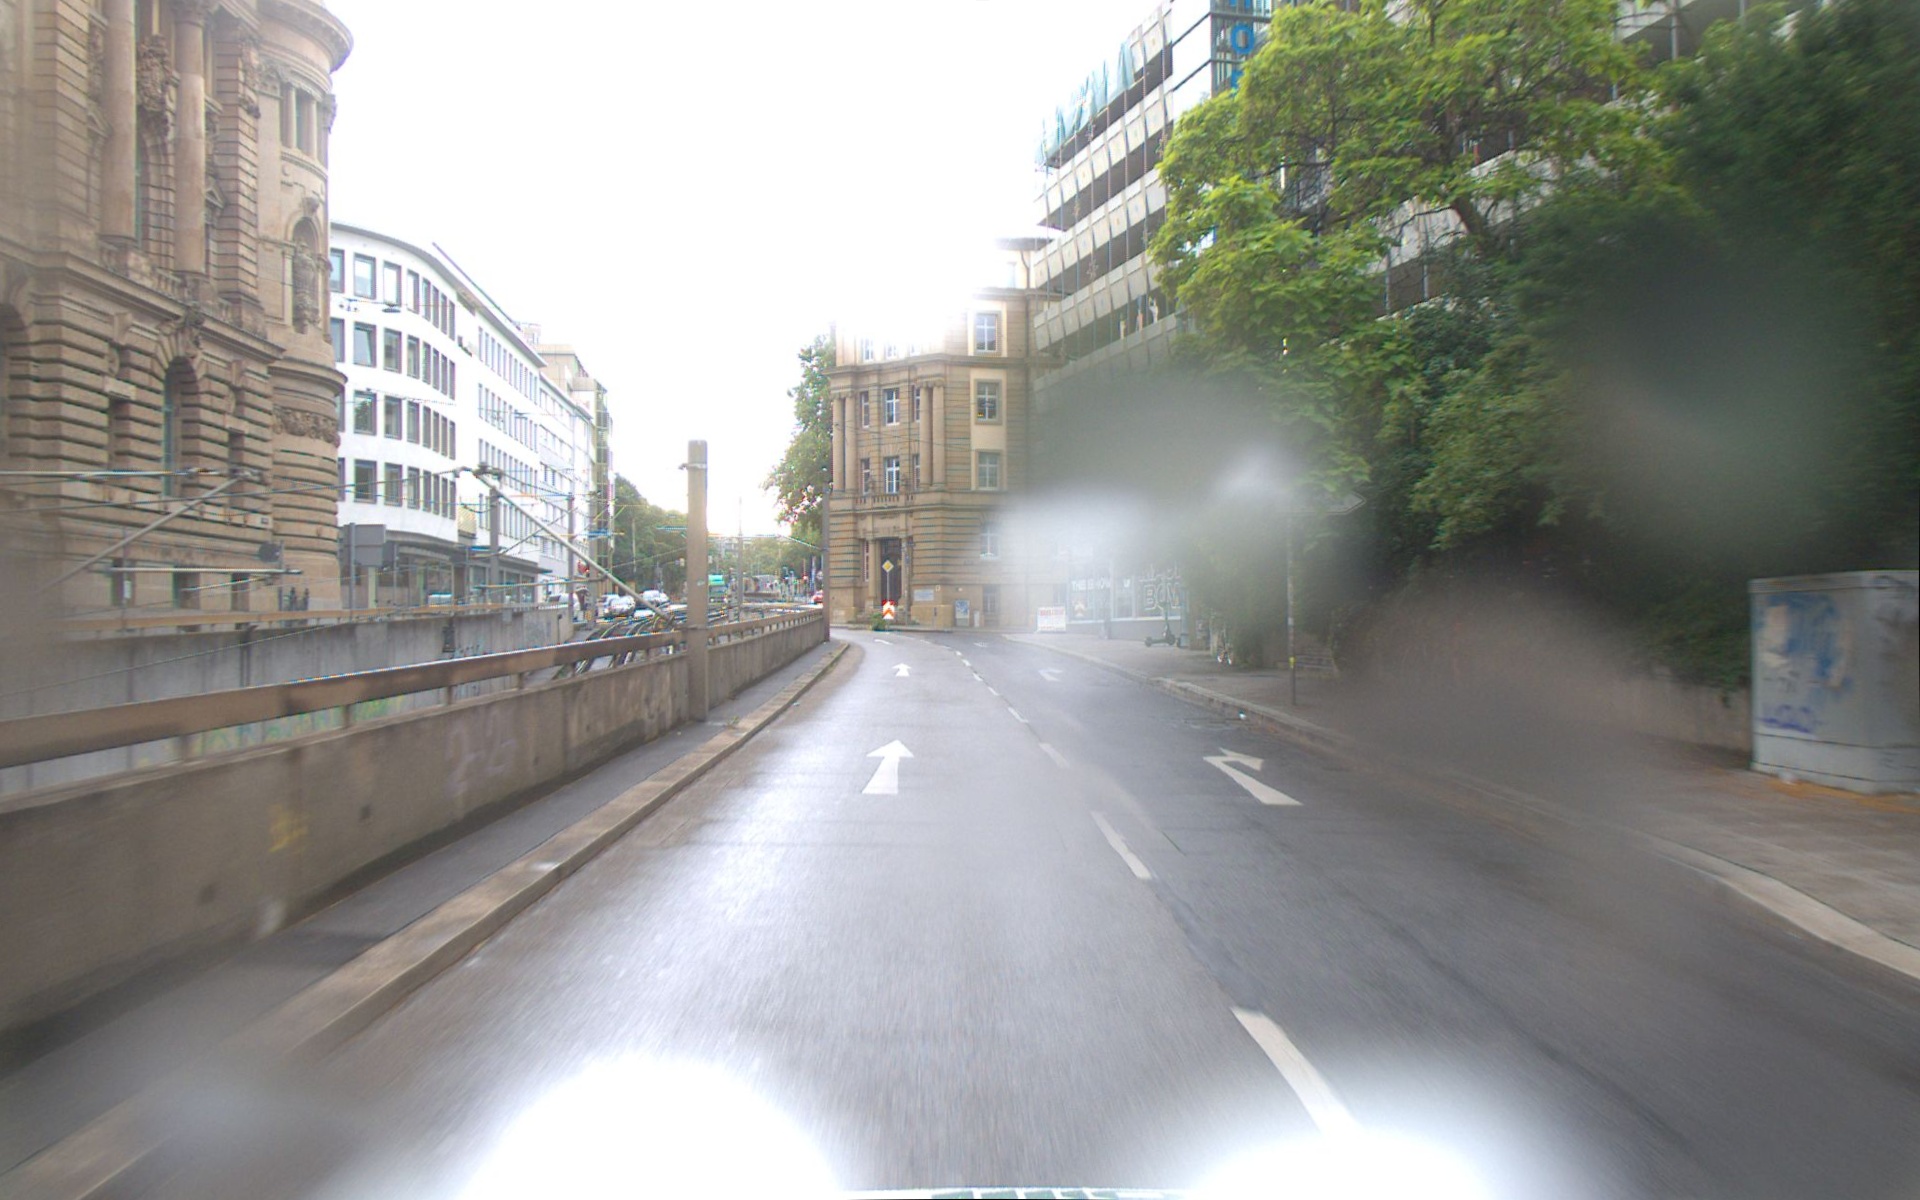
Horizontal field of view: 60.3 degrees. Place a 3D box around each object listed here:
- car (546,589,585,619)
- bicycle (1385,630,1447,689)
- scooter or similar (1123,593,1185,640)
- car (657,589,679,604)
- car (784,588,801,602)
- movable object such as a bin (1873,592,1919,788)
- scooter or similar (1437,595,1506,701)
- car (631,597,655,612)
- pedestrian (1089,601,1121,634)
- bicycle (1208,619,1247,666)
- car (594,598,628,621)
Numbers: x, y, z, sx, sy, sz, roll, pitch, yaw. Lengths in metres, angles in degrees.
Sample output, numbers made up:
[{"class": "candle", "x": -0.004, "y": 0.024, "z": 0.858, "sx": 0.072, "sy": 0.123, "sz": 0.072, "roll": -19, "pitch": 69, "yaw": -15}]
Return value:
[{"class": "car", "x": -26.242, "y": 0.252, "z": 110.167, "sx": 1.955, "sy": 1.916, "sz": 4.920, "roll": 1, "pitch": 0, "yaw": -7}, {"class": "bicycle", "x": 6.445, "y": 0.831, "z": 23.406, "sx": 0.490, "sy": 0.767, "sz": 1.211, "roll": -2, "pitch": 0, "yaw": -1}, {"class": "scooter or similar", "x": 5.625, "y": 0.474, "z": 47.936, "sx": 1.615, "sy": 1.290, "sz": 0.737, "roll": -2, "pitch": 1, "yaw": -27}, {"class": "car", "x": -30.735, "y": -0.372, "z": 174.234, "sx": 1.955, "sy": 1.482, "sz": 4.305, "roll": 1, "pitch": 0, "yaw": -7}, {"class": "car", "x": -19.626, "y": -0.572, "z": 194.010, "sx": 1.955, "sy": 1.691, "sz": 3.994, "roll": 1, "pitch": 0, "yaw": -6}, {"class": "movable object such as a bin", "x": 7.167, "y": 0.598, "z": 11.224, "sx": 1.214, "sy": 1.333, "sz": 1.233, "roll": -2, "pitch": 0, "yaw": -1}, {"class": "scooter or similar", "x": 6.465, "y": 0.586, "z": 20.931, "sx": 0.438, "sy": 1.281, "sz": 1.211, "roll": -2, "pitch": 0, "yaw": -1}, {"class": "car", "x": -31.015, "y": 0.422, "z": 161.693, "sx": 1.955, "sy": 1.482, "sz": 4.305, "roll": 1, "pitch": 0, "yaw": -7}, {"class": "pedestrian", "x": 5.101, "y": 0.622, "z": 58.393, "sx": 0.740, "sy": 1.143, "sz": 1.242, "roll": 1, "pitch": 0, "yaw": -15}, {"class": "bicycle", "x": 5.330, "y": 0.835, "z": 33.020, "sx": 0.460, "sy": 0.900, "sz": 1.689, "roll": -1, "pitch": 0, "yaw": -1}, {"class": "car", "x": -24.371, "y": 0.663, "z": 115.643, "sx": 1.955, "sy": 1.554, "sz": 3.657, "roll": 1, "pitch": 0, "yaw": -7}]
